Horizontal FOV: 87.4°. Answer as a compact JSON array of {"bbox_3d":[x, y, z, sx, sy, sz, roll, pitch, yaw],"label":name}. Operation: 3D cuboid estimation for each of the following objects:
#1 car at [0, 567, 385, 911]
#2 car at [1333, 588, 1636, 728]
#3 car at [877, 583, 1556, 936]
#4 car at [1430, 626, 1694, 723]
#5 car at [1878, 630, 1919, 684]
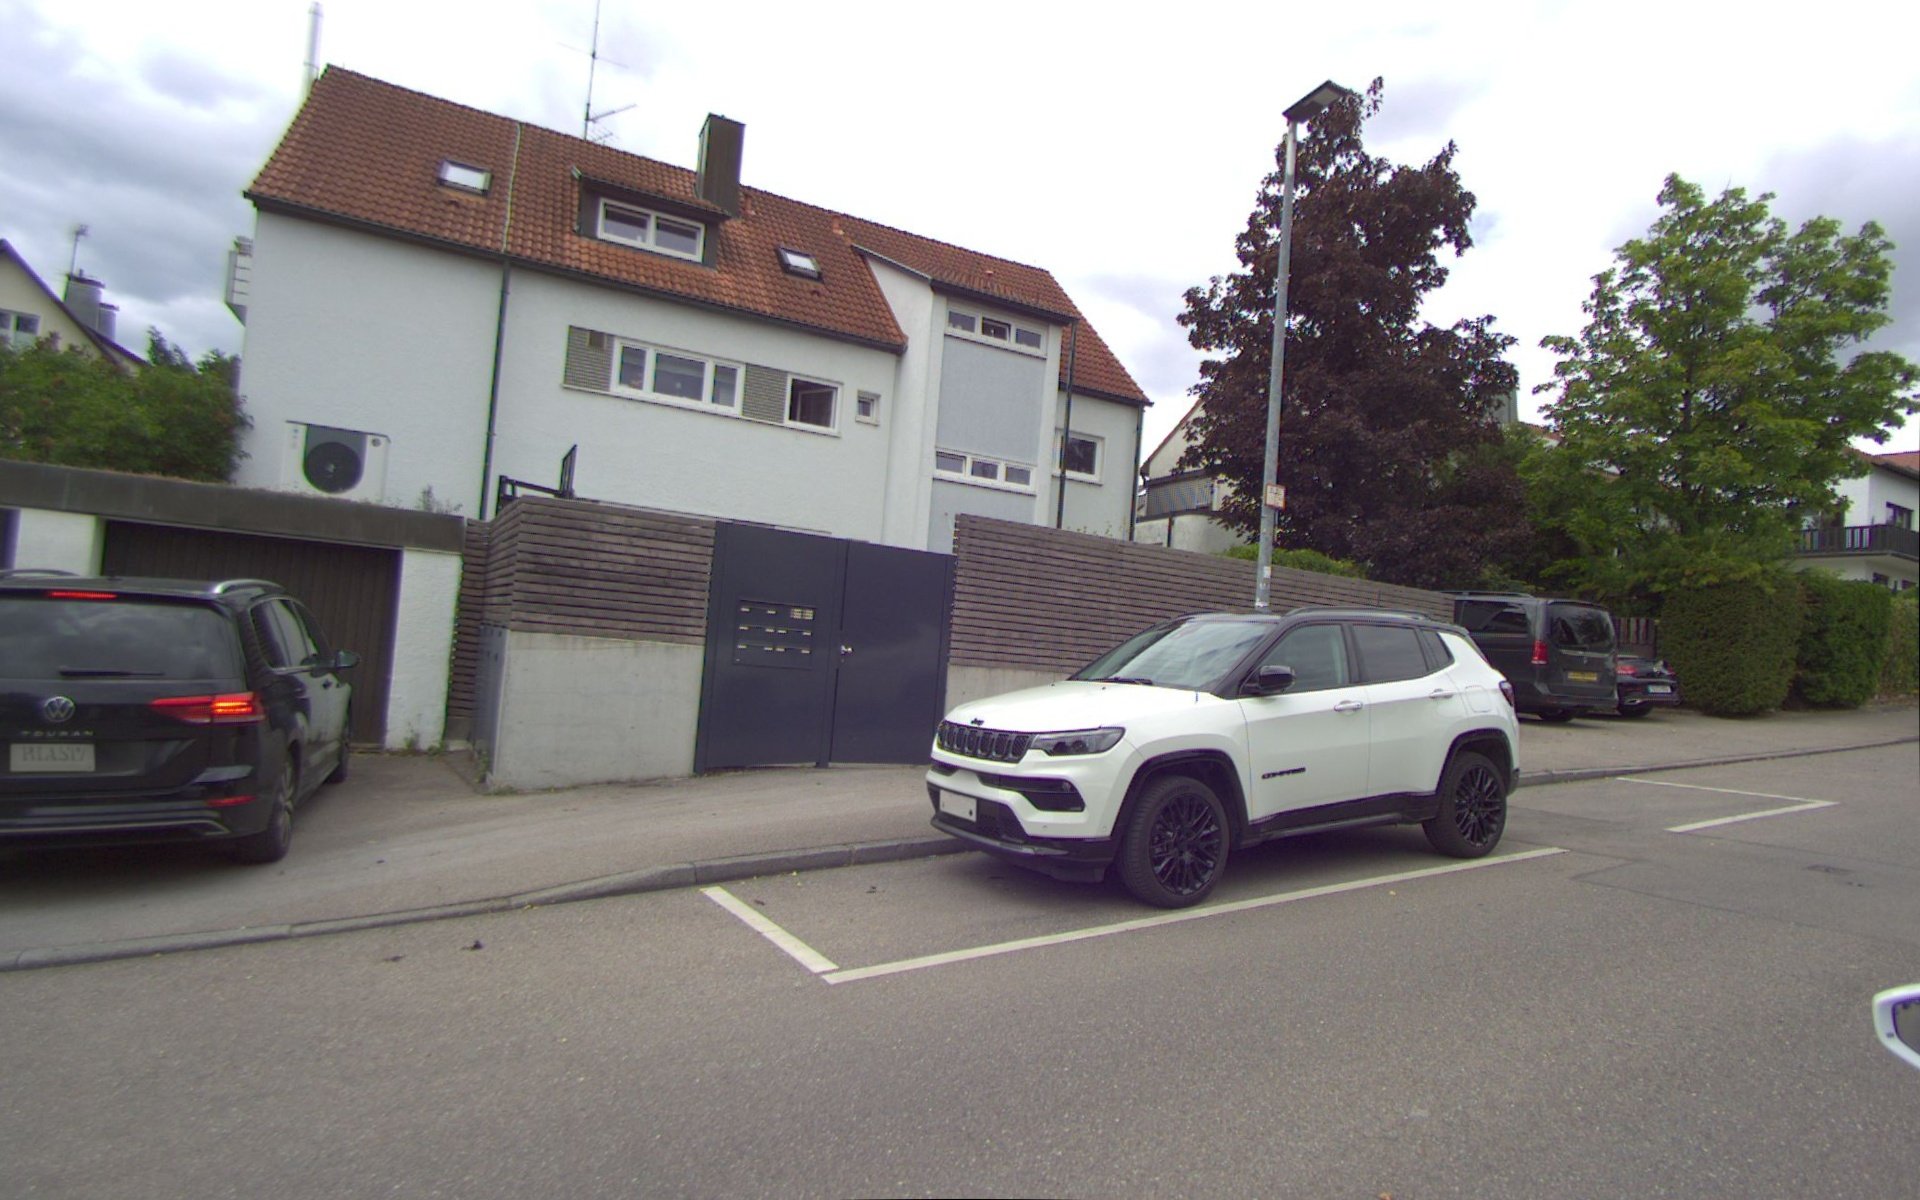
[{"bbox_3d":[-5.235,0.683,6.819,1.828,1.633,4.286,1,-1,-24],"label":"car"},{"bbox_3d":[8.326,0.885,16.377,1.971,1.975,4.066,3,-2,-21],"label":"car"},{"bbox_3d":[1.800,0.847,6.713,4.355,1.688,1.829,2,-3,-29],"label":"car"},{"bbox_3d":[10.720,1.266,18.248,1.750,1.465,3.986,2,-1,-17],"label":"car"},{"bbox_3d":[29.875,1.776,29.442,1.764,1.554,3.974,1,1,-25],"label":"car"}]
